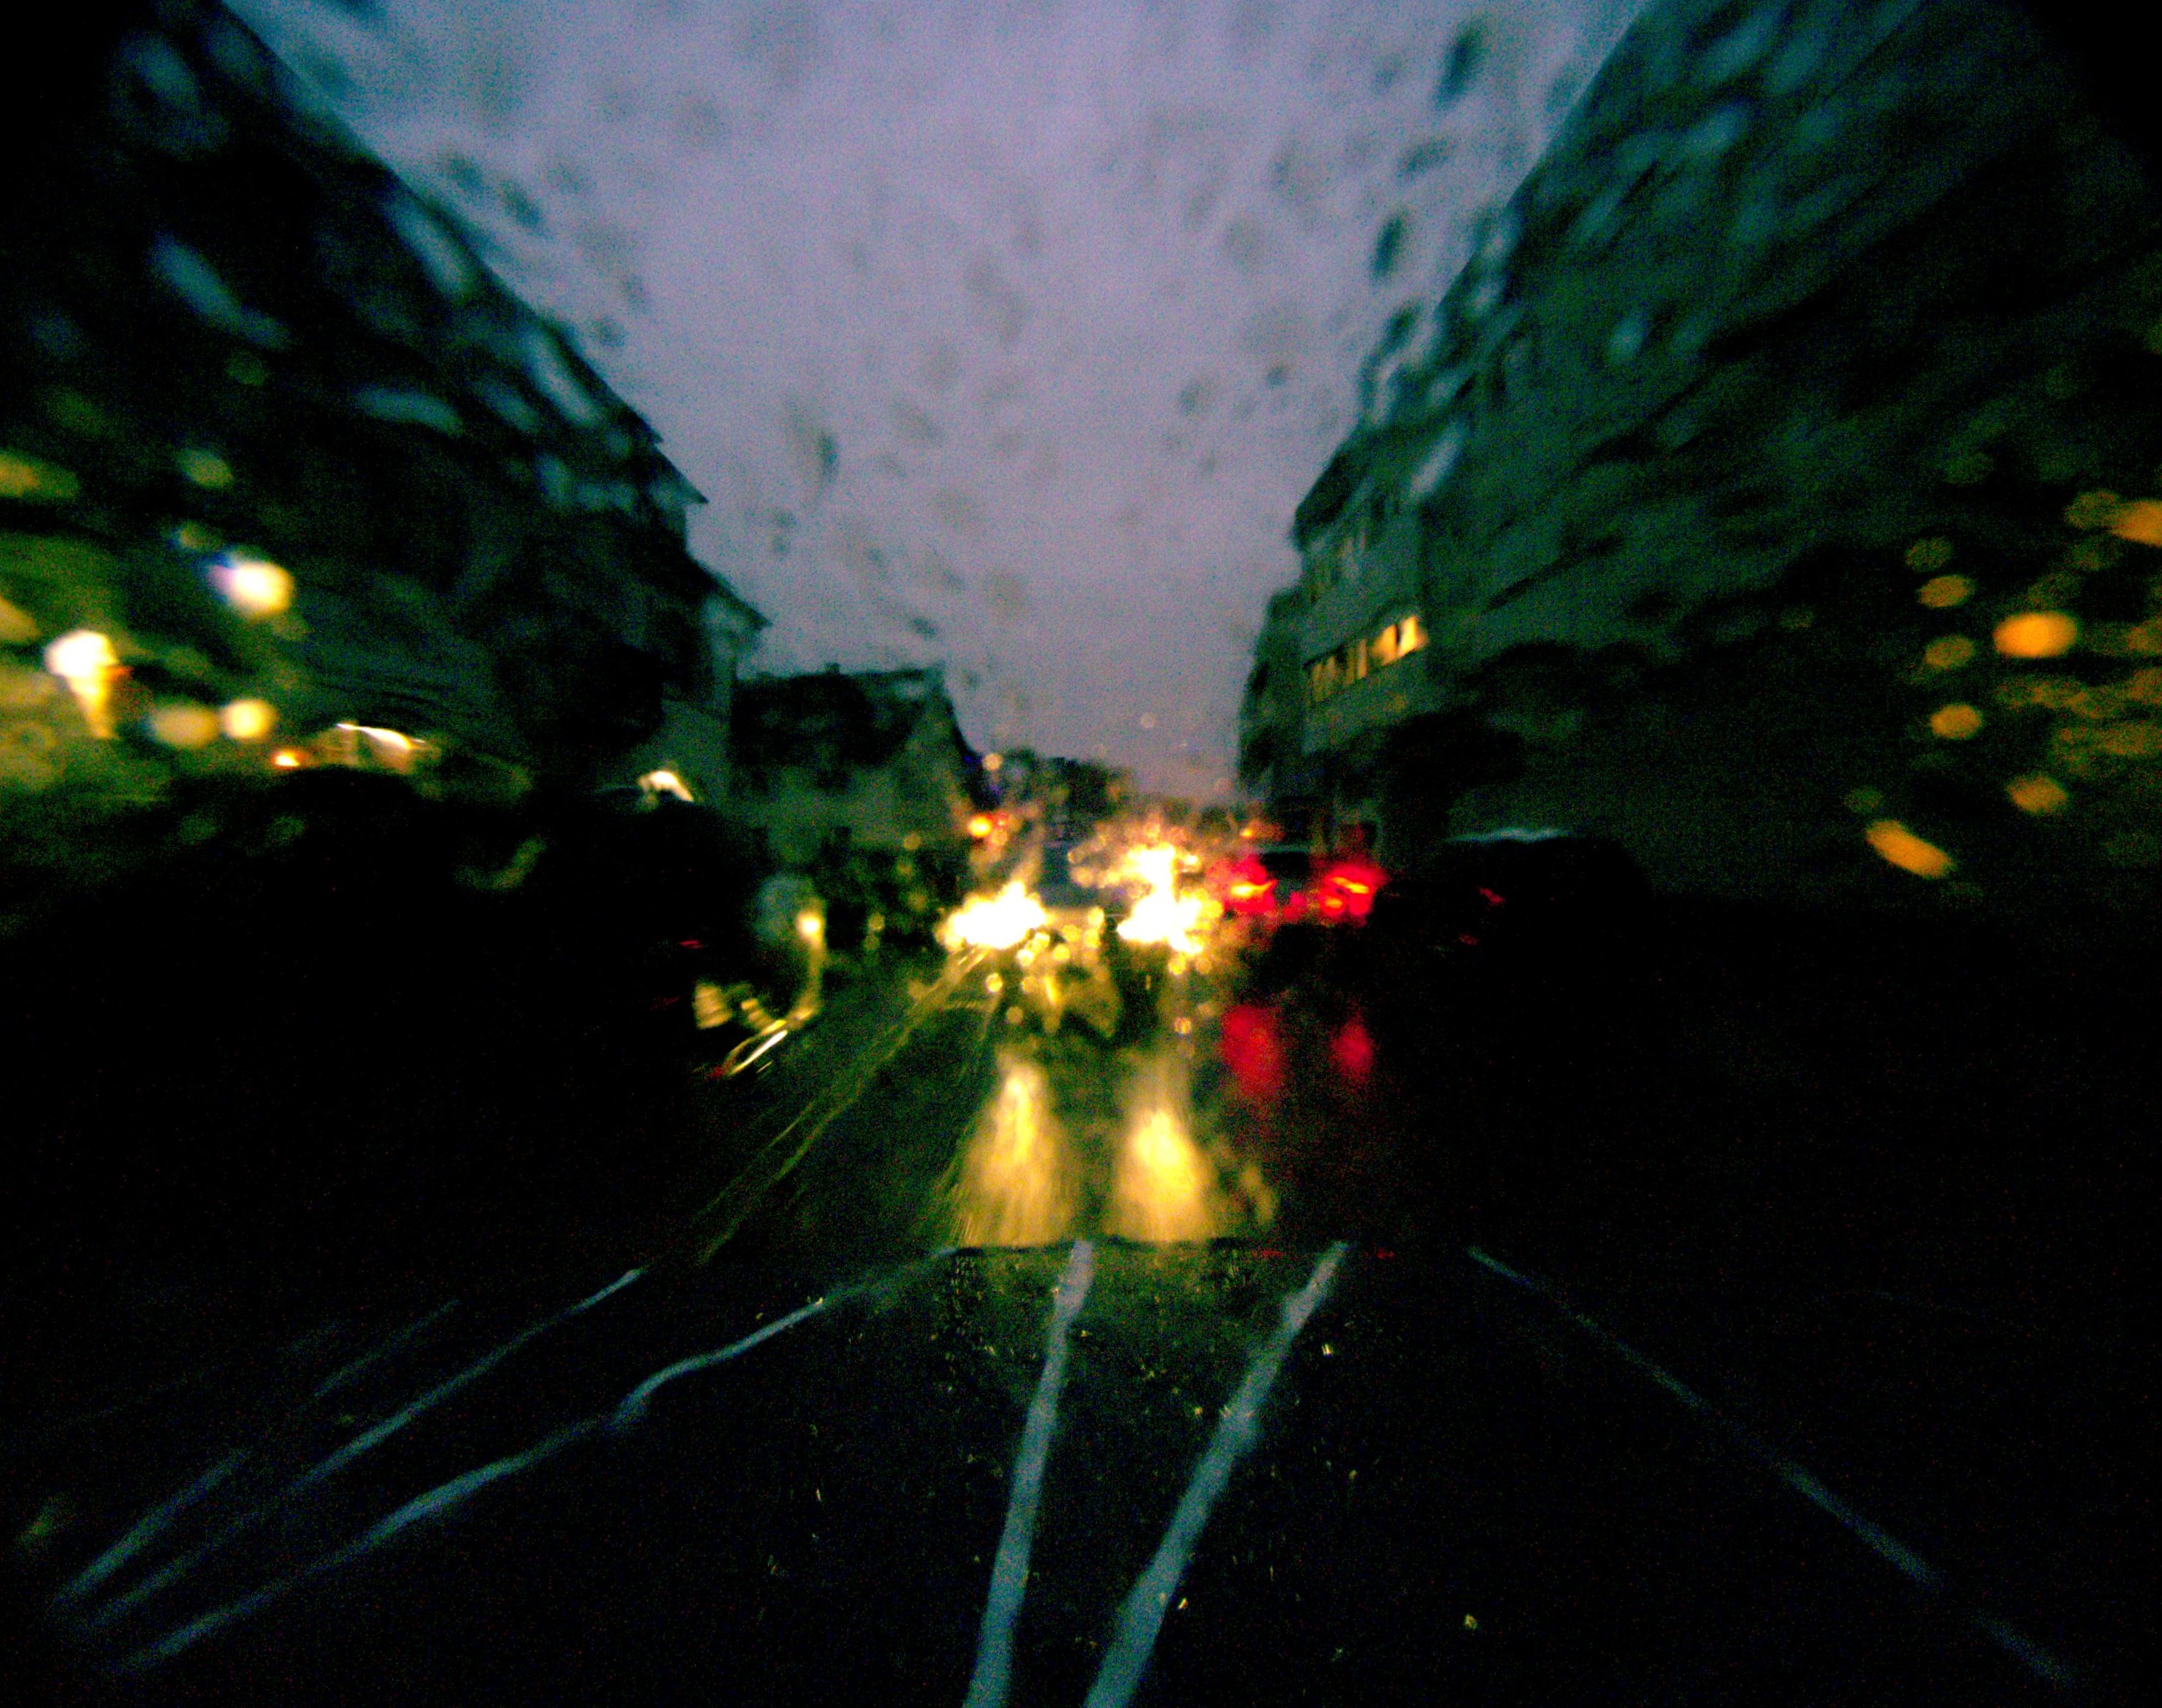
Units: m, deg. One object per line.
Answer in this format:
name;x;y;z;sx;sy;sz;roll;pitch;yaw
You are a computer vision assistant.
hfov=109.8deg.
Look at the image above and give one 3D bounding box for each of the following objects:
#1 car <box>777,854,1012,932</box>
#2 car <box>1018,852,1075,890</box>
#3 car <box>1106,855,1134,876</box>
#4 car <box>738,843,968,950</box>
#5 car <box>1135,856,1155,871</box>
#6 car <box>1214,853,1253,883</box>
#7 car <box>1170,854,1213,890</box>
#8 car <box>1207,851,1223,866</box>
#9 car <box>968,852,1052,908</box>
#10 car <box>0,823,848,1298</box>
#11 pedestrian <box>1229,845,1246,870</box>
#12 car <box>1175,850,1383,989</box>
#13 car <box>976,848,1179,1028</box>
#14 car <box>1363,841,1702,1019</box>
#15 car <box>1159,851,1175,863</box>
car;-3.787;0.785;16.060;4.478;1.465;1.898;1;0;0
car;-1.408;0.669;32.928;1.798;1.452;4.532;1;1;6
car;3.053;0.888;58.781;1.797;1.501;4.002;1;1;8
car;-3.817;0.705;13.225;3.514;1.671;1.715;1;0;-4
car;6.700;0.955;79.397;1.797;1.501;4.002;1;1;8
car;7.859;0.692;39.496;1.678;1.438;4.430;1;1;7
car;4.925;0.772;34.341;1.641;1.526;3.407;-1;0;4
car;15.765;0.502;89.567;1.724;1.604;3.818;-2;0;10
car;-2.083;0.725;23.663;1.886;1.538;4.672;1;0;3
car;-3.759;0.769;3.808;4.617;1.765;1.944;0;0;-3
pedestrian;12.553;0.270;60.893;1.200;1.927;0.977;0;1;16
car;2.567;0.749;10.989;1.815;1.587;4.399;-1;0;0
car;-0.039;0.791;9.276;1.879;1.622;3.999;-2;1;0
car;4.980;0.717;9.095;1.799;1.633;3.812;-2;0;1
car;10.925;0.369;96.292;1.797;1.501;4.003;1;1;10
